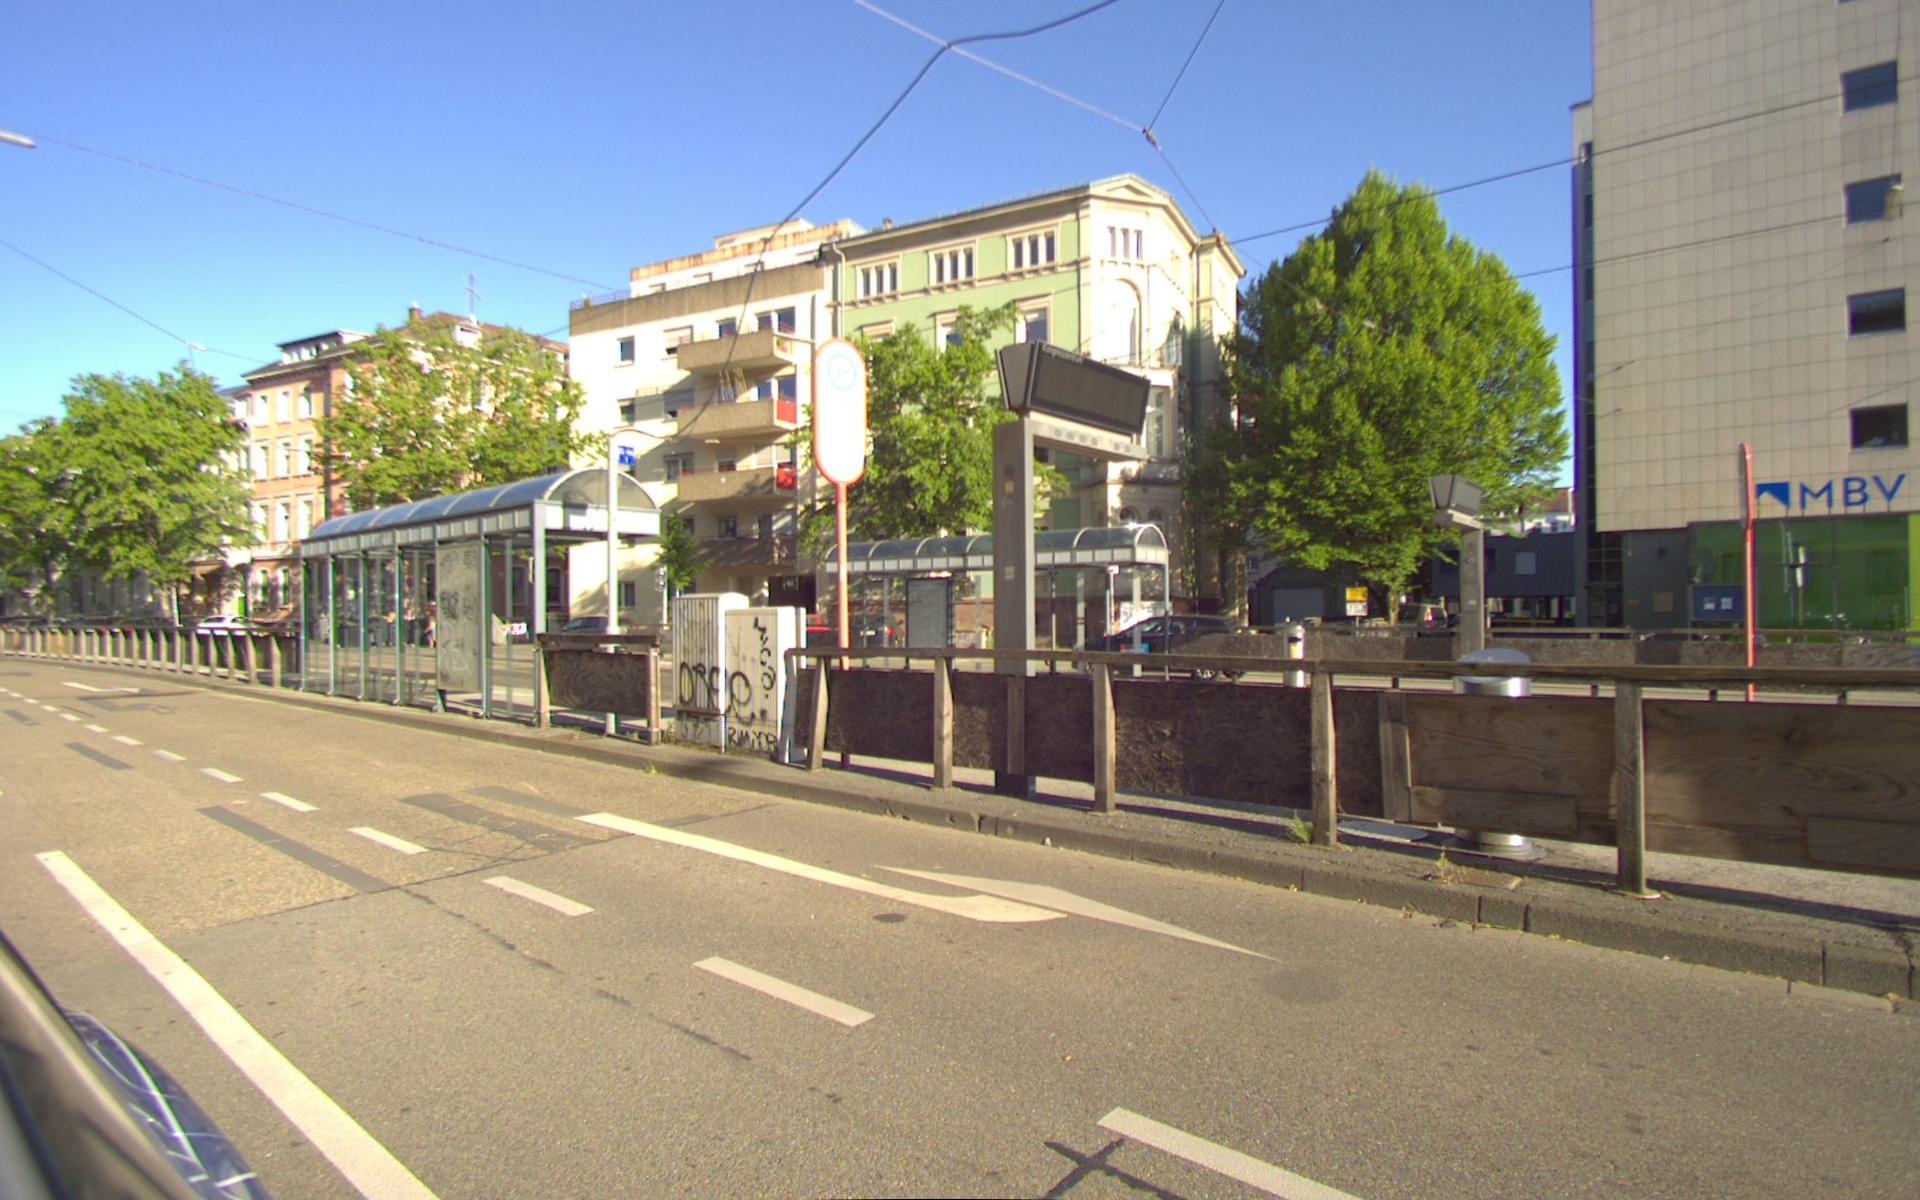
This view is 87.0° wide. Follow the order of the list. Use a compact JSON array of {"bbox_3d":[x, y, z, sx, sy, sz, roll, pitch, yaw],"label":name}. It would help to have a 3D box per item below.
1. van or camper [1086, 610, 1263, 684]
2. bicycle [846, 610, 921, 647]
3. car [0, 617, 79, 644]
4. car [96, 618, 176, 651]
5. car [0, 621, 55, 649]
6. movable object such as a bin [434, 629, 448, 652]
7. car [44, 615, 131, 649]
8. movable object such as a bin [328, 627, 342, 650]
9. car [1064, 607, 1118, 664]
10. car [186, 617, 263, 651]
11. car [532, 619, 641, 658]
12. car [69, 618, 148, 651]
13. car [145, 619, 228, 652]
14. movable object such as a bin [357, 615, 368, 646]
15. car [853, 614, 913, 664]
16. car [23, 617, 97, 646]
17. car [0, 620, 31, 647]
[{"bbox_3d":[4.773,1.031,22.677,3.523,1.514,1.580,0,-3,38],"label":"van or camper"},{"bbox_3d":[-2.992,1.121,39.606,2.995,1.409,0.713,-1,-1,27],"label":"bicycle"},{"bbox_3d":[-58.111,1.895,63.896,1.745,1.496,3.823,-1,1,-1],"label":"car"},{"bbox_3d":[-46.862,1.931,57.643,1.609,1.629,3.993,-2,1,-7],"label":"car"},{"bbox_3d":[-60.913,2.227,65.218,1.748,1.666,3.871,-1,1,-1],"label":"car"},{"bbox_3d":[-24.932,1.946,48.602,0.551,1.105,0.376,0,0,34],"label":"movable object such as a bin"},{"bbox_3d":[-52.246,1.875,60.738,1.682,1.735,4.291,0,2,-4],"label":"car"},{"bbox_3d":[-29.721,1.848,48.097,0.639,1.076,0.375,-1,-1,40],"label":"movable object such as a bin"},{"bbox_3d":[4.148,1.051,31.891,1.572,1.581,4.504,0,1,8],"label":"car"},{"bbox_3d":[-39.485,1.803,54.411,1.708,1.533,3.924,-2,1,-9],"label":"car"},{"bbox_3d":[-14.328,1.442,38.720,4.278,1.421,1.693,-1,-1,32],"label":"car"},{"bbox_3d":[-49.462,1.976,58.880,1.609,1.629,3.993,-2,1,-7],"label":"car"},{"bbox_3d":[-42.441,1.929,55.647,1.664,1.519,3.926,-2,1,-4],"label":"car"},{"bbox_3d":[-28.420,1.445,48.136,0.385,1.437,0.375,-1,-1,40],"label":"movable object such as a bin"},{"bbox_3d":[-2.587,1.253,33.817,1.845,1.436,4.521,0,1,-5],"label":"car"},{"bbox_3d":[-55.610,1.940,62.599,1.682,1.544,3.284,-2,2,-3],"label":"car"},{"bbox_3d":[-63.889,2.232,66.705,1.748,1.666,3.872,-1,1,-1],"label":"car"}]
